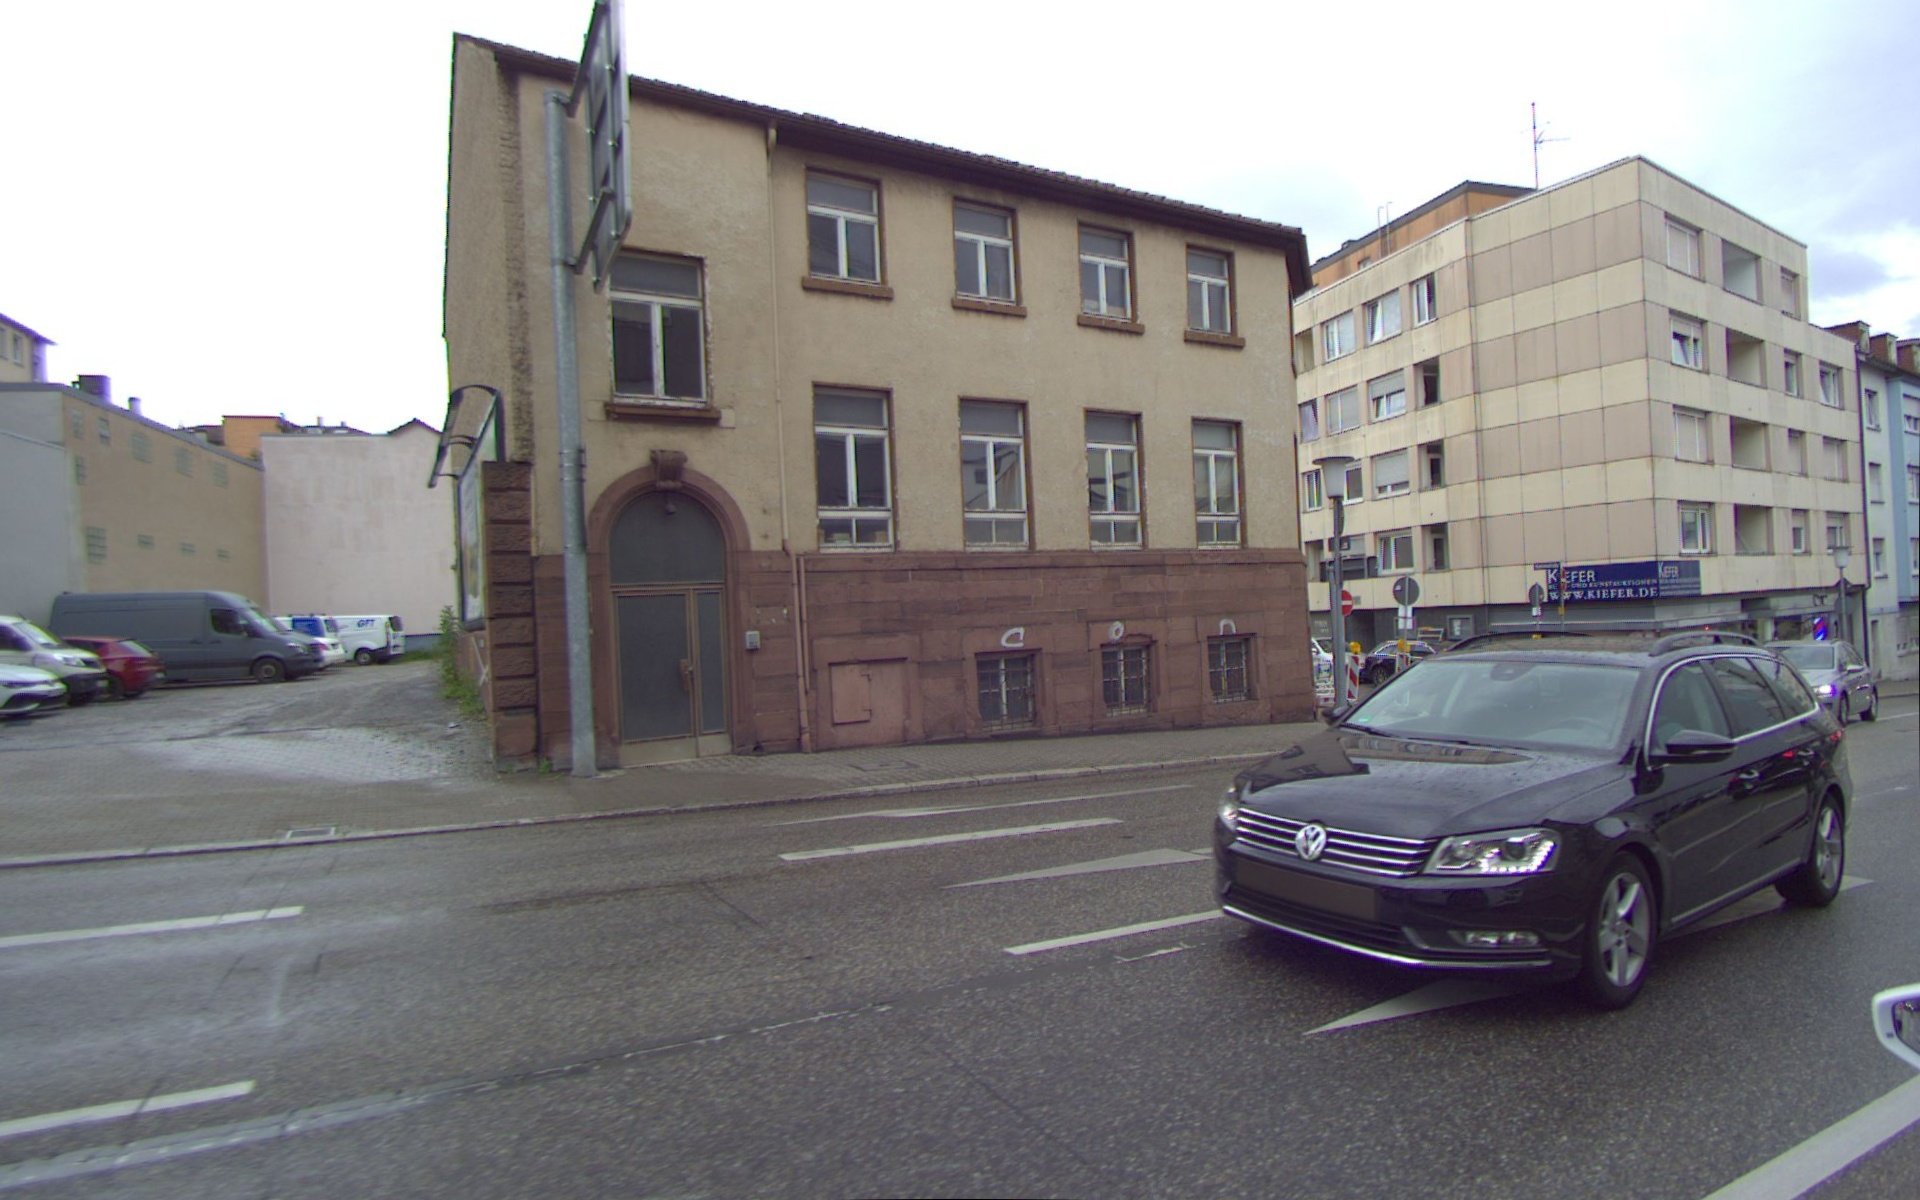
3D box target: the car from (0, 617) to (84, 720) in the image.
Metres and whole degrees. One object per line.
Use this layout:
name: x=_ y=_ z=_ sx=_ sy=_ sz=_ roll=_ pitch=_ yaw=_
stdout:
car: x=-17.671 y=1.258 z=17.258 sx=3.495 sy=1.693 sz=1.671 roll=-3 pitch=1 yaw=-22

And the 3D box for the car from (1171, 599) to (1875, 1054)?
car: x=3.237 y=0.882 z=5.415 sx=4.329 sy=1.535 sz=1.711 roll=3 pitch=-4 yaw=-37

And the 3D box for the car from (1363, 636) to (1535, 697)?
car: x=13.962 y=1.842 z=28.940 sx=1.871 sy=1.532 sz=4.324 roll=2 pitch=-1 yaw=-22

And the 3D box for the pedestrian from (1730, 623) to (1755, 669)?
pedestrian: x=30.358 y=1.777 z=38.985 sx=0.566 sy=1.753 sz=0.595 roll=-4 pitch=1 yaw=-37

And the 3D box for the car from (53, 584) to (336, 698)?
car: x=-20.455 y=1.039 z=27.186 sx=5.540 sy=2.593 sz=2.126 roll=-3 pitch=1 yaw=-18

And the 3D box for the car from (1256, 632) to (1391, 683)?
car: x=12.177 y=1.900 z=33.928 sx=1.871 sy=1.532 sz=4.324 roll=2 pitch=-1 yaw=-22

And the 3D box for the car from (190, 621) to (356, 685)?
car: x=-20.560 y=1.555 z=30.248 sx=3.702 sy=1.572 sz=1.786 roll=-3 pitch=1 yaw=-20

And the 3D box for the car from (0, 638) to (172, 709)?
car: x=-19.423 y=1.605 z=22.212 sx=2.801 sy=1.292 sz=1.316 roll=-3 pitch=1 yaw=-19

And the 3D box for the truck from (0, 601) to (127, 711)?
truck: x=-19.212 y=1.154 z=19.567 sx=4.167 sy=1.998 sz=1.711 roll=-3 pitch=1 yaw=-25

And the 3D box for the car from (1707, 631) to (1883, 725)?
car: x=15.984 y=1.478 z=19.170 sx=4.107 sy=1.606 sz=1.702 roll=3 pitch=-6 yaw=-38

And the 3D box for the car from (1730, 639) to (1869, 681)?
car: x=33.458 y=2.378 z=40.129 sx=1.782 sy=1.519 sz=3.960 roll=3 pitch=-3 yaw=-35

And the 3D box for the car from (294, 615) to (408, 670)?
car: x=-23.749 y=1.614 z=39.284 sx=3.443 sy=1.861 sz=1.522 roll=-3 pitch=1 yaw=-19

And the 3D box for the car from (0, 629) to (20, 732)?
car: x=-15.887 y=1.301 z=14.064 sx=3.519 sy=1.535 sz=1.727 roll=-4 pitch=1 yaw=-26

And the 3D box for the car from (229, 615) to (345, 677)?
car: x=-22.006 y=1.476 z=32.940 sx=2.801 sy=1.761 sz=1.316 roll=-3 pitch=1 yaw=-19

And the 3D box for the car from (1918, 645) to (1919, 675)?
car: x=31.706 y=2.194 z=31.384 sx=4.599 sy=1.558 sz=1.733 roll=3 pitch=-5 yaw=-36
